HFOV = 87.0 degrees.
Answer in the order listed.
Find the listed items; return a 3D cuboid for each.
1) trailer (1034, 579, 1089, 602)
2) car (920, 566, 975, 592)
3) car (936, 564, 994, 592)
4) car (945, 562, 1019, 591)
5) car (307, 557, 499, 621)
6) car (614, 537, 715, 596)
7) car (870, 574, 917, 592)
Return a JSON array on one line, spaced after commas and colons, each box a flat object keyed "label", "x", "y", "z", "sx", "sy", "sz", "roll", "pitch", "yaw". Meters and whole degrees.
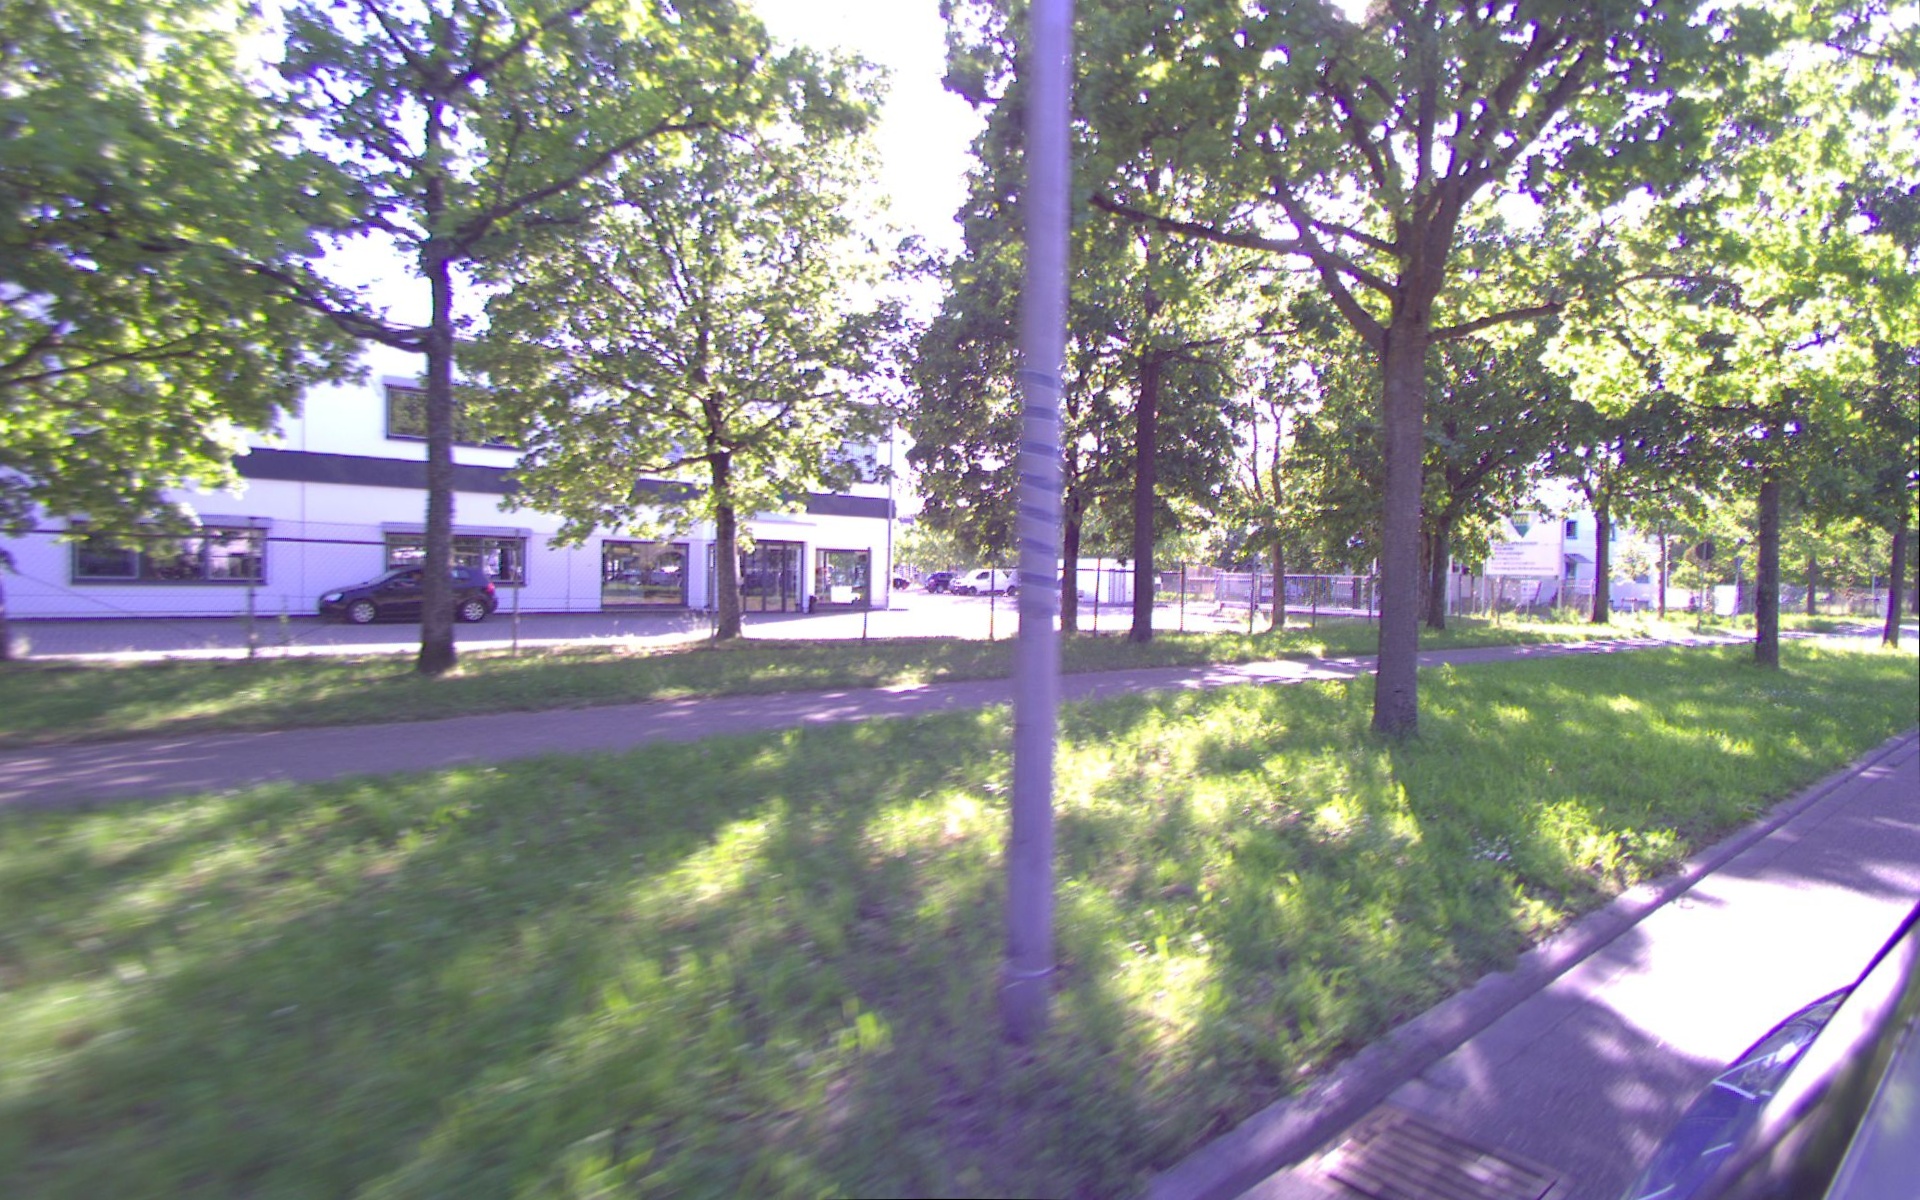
[{"label": "trailer", "x": 6.037, "y": -0.581, "z": 60.680, "sx": 1.695, "sy": 1.282, "sz": 3.604, "roll": 0, "pitch": 2, "yaw": -24}, {"label": "car", "x": -1.037, "y": -1.685, "z": 80.998, "sx": 3.916, "sy": 2.039, "sz": 2.004, "roll": -1, "pitch": 0, "yaw": -23}, {"label": "car", "x": 0.376, "y": -1.656, "z": 76.944, "sx": 3.916, "sy": 2.039, "sz": 2.004, "roll": -1, "pitch": 0, "yaw": -23}, {"label": "car", "x": 1.610, "y": -1.708, "z": 74.109, "sx": 5.009, "sy": 2.039, "sz": 2.003, "roll": -1, "pitch": 0, "yaw": -24}, {"label": "car", "x": -14.277, "y": -0.301, "z": 26.035, "sx": 4.085, "sy": 1.525, "sz": 1.719, "roll": -1, "pitch": 1, "yaw": -40}, {"label": "car", "x": -13.968, "y": -1.560, "z": 47.922, "sx": 4.111, "sy": 2.665, "sz": 1.997, "roll": 0, "pitch": 2, "yaw": -41}, {"label": "car", "x": -6.087, "y": -1.557, "z": 92.690, "sx": 3.916, "sy": 1.635, "sz": 1.903, "roll": -1, "pitch": 0, "yaw": -23}]
